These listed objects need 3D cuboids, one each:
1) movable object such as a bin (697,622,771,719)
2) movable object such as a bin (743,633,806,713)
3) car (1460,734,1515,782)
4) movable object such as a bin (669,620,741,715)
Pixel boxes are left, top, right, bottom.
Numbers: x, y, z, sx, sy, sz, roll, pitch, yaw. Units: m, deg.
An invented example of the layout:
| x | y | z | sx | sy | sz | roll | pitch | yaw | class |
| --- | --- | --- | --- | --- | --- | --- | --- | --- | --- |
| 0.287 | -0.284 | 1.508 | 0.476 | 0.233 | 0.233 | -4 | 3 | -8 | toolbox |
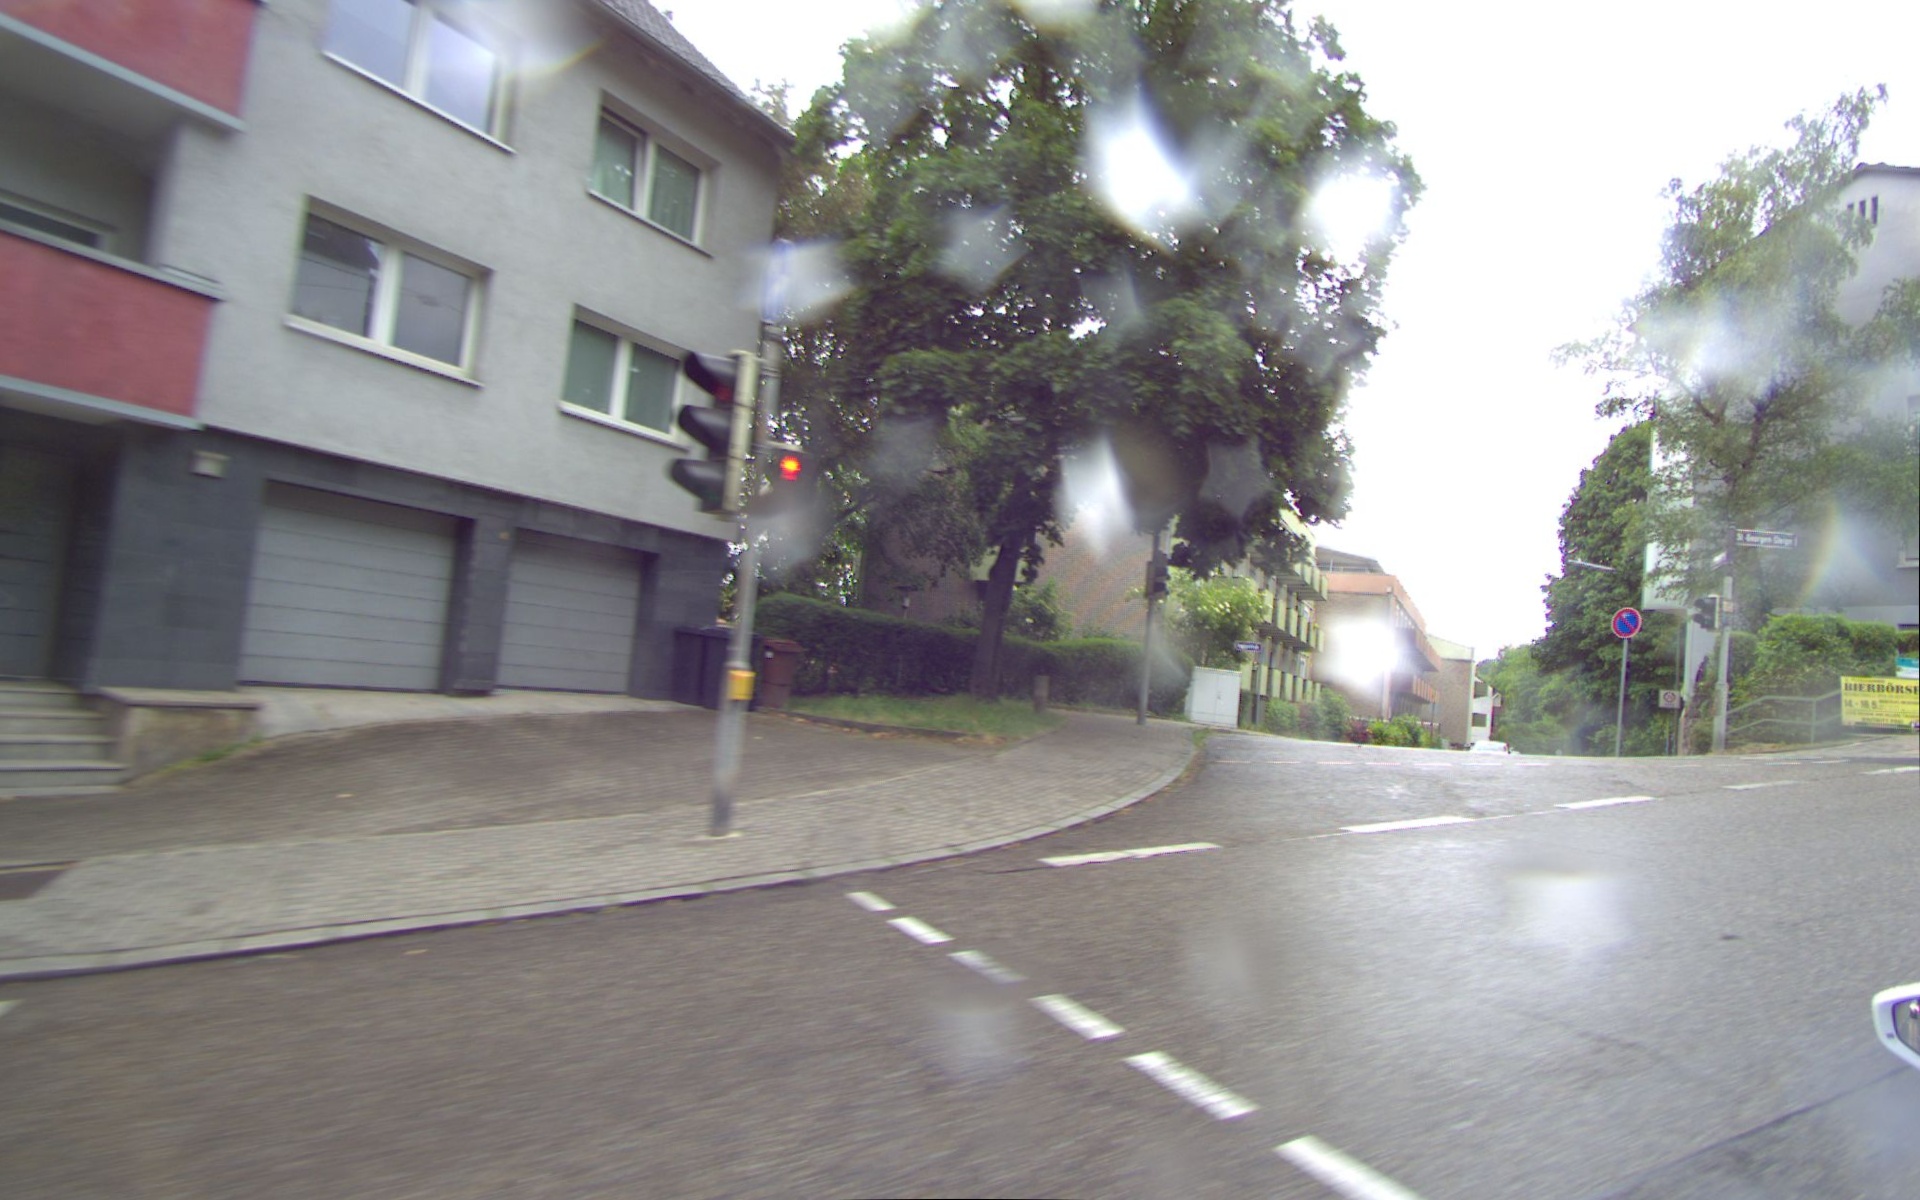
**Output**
| x | y | z | sx | sy | sz | roll | pitch | yaw | class |
| --- | --- | --- | --- | --- | --- | --- | --- | --- | --- |
| -2.981 | 0.927 | 13.269 | 0.552 | 1.215 | 0.686 | 2 | -1 | 37 | movable object such as a bin |
| -2.533 | 0.986 | 13.720 | 0.620 | 1.029 | 0.498 | 2 | -1 | 38 | movable object such as a bin |
| 25.726 | 7.637 | 48.876 | 2.162 | 1.671 | 4.433 | 0 | -2 | 31 | car |
| -3.449 | 0.907 | 13.607 | 0.552 | 1.215 | 0.686 | 2 | -1 | 37 | movable object such as a bin |
